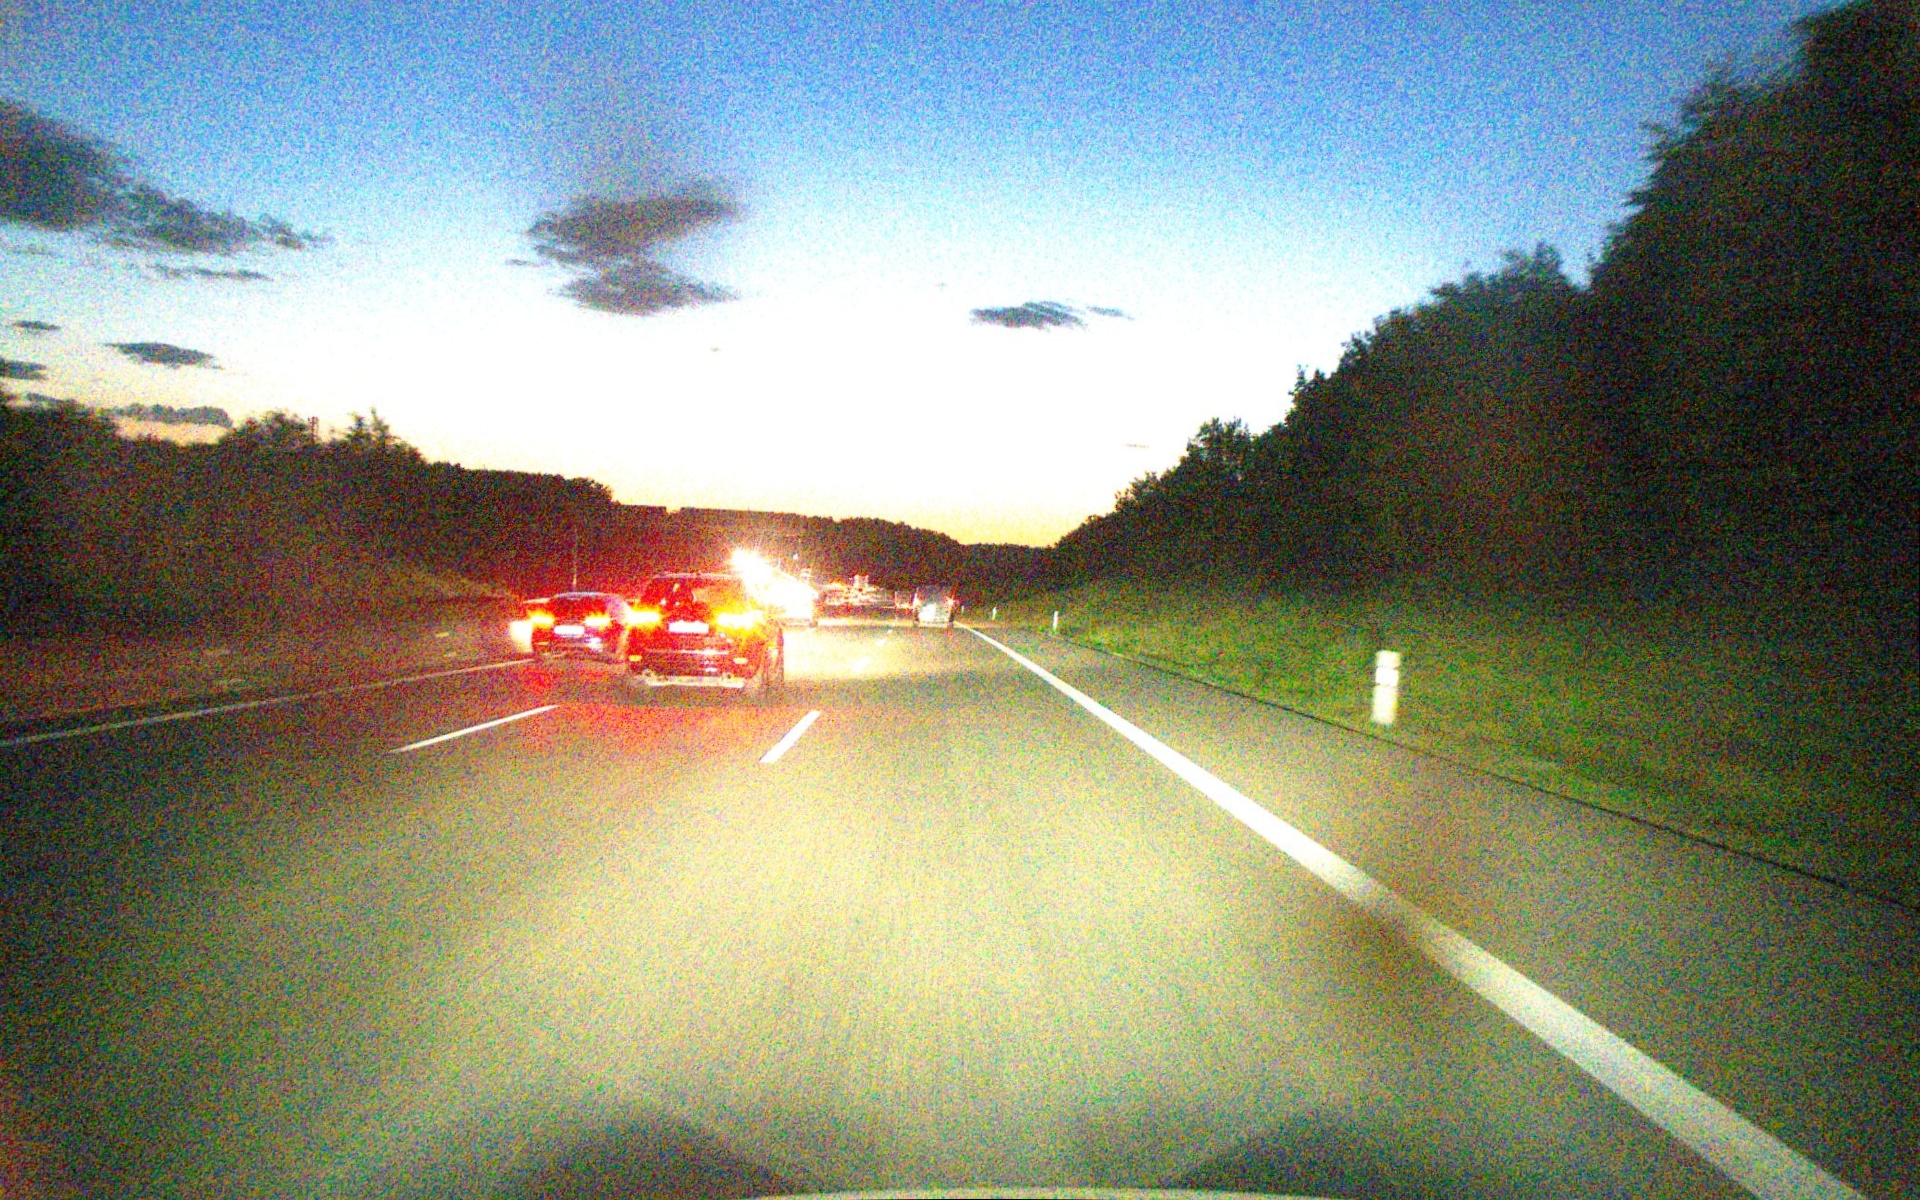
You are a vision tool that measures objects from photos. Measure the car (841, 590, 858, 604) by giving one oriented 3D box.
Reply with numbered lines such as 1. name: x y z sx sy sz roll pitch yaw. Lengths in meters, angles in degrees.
1. car: -16.877 -0.434 253.702 2.152 1.989 4.634 4 1 0

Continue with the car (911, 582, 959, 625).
1. car: -1.210 0.137 80.745 2.151 1.989 4.764 0 1 1

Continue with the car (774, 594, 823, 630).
1. car: -7.811 0.573 80.383 1.743 1.512 5.254 4 1 0

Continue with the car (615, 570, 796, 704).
1. car: -3.621 0.487 24.586 1.953 1.751 5.940 0 0 -2

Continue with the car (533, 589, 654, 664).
1. car: -7.658 0.536 35.052 1.518 1.456 5.512 0 0 -2
